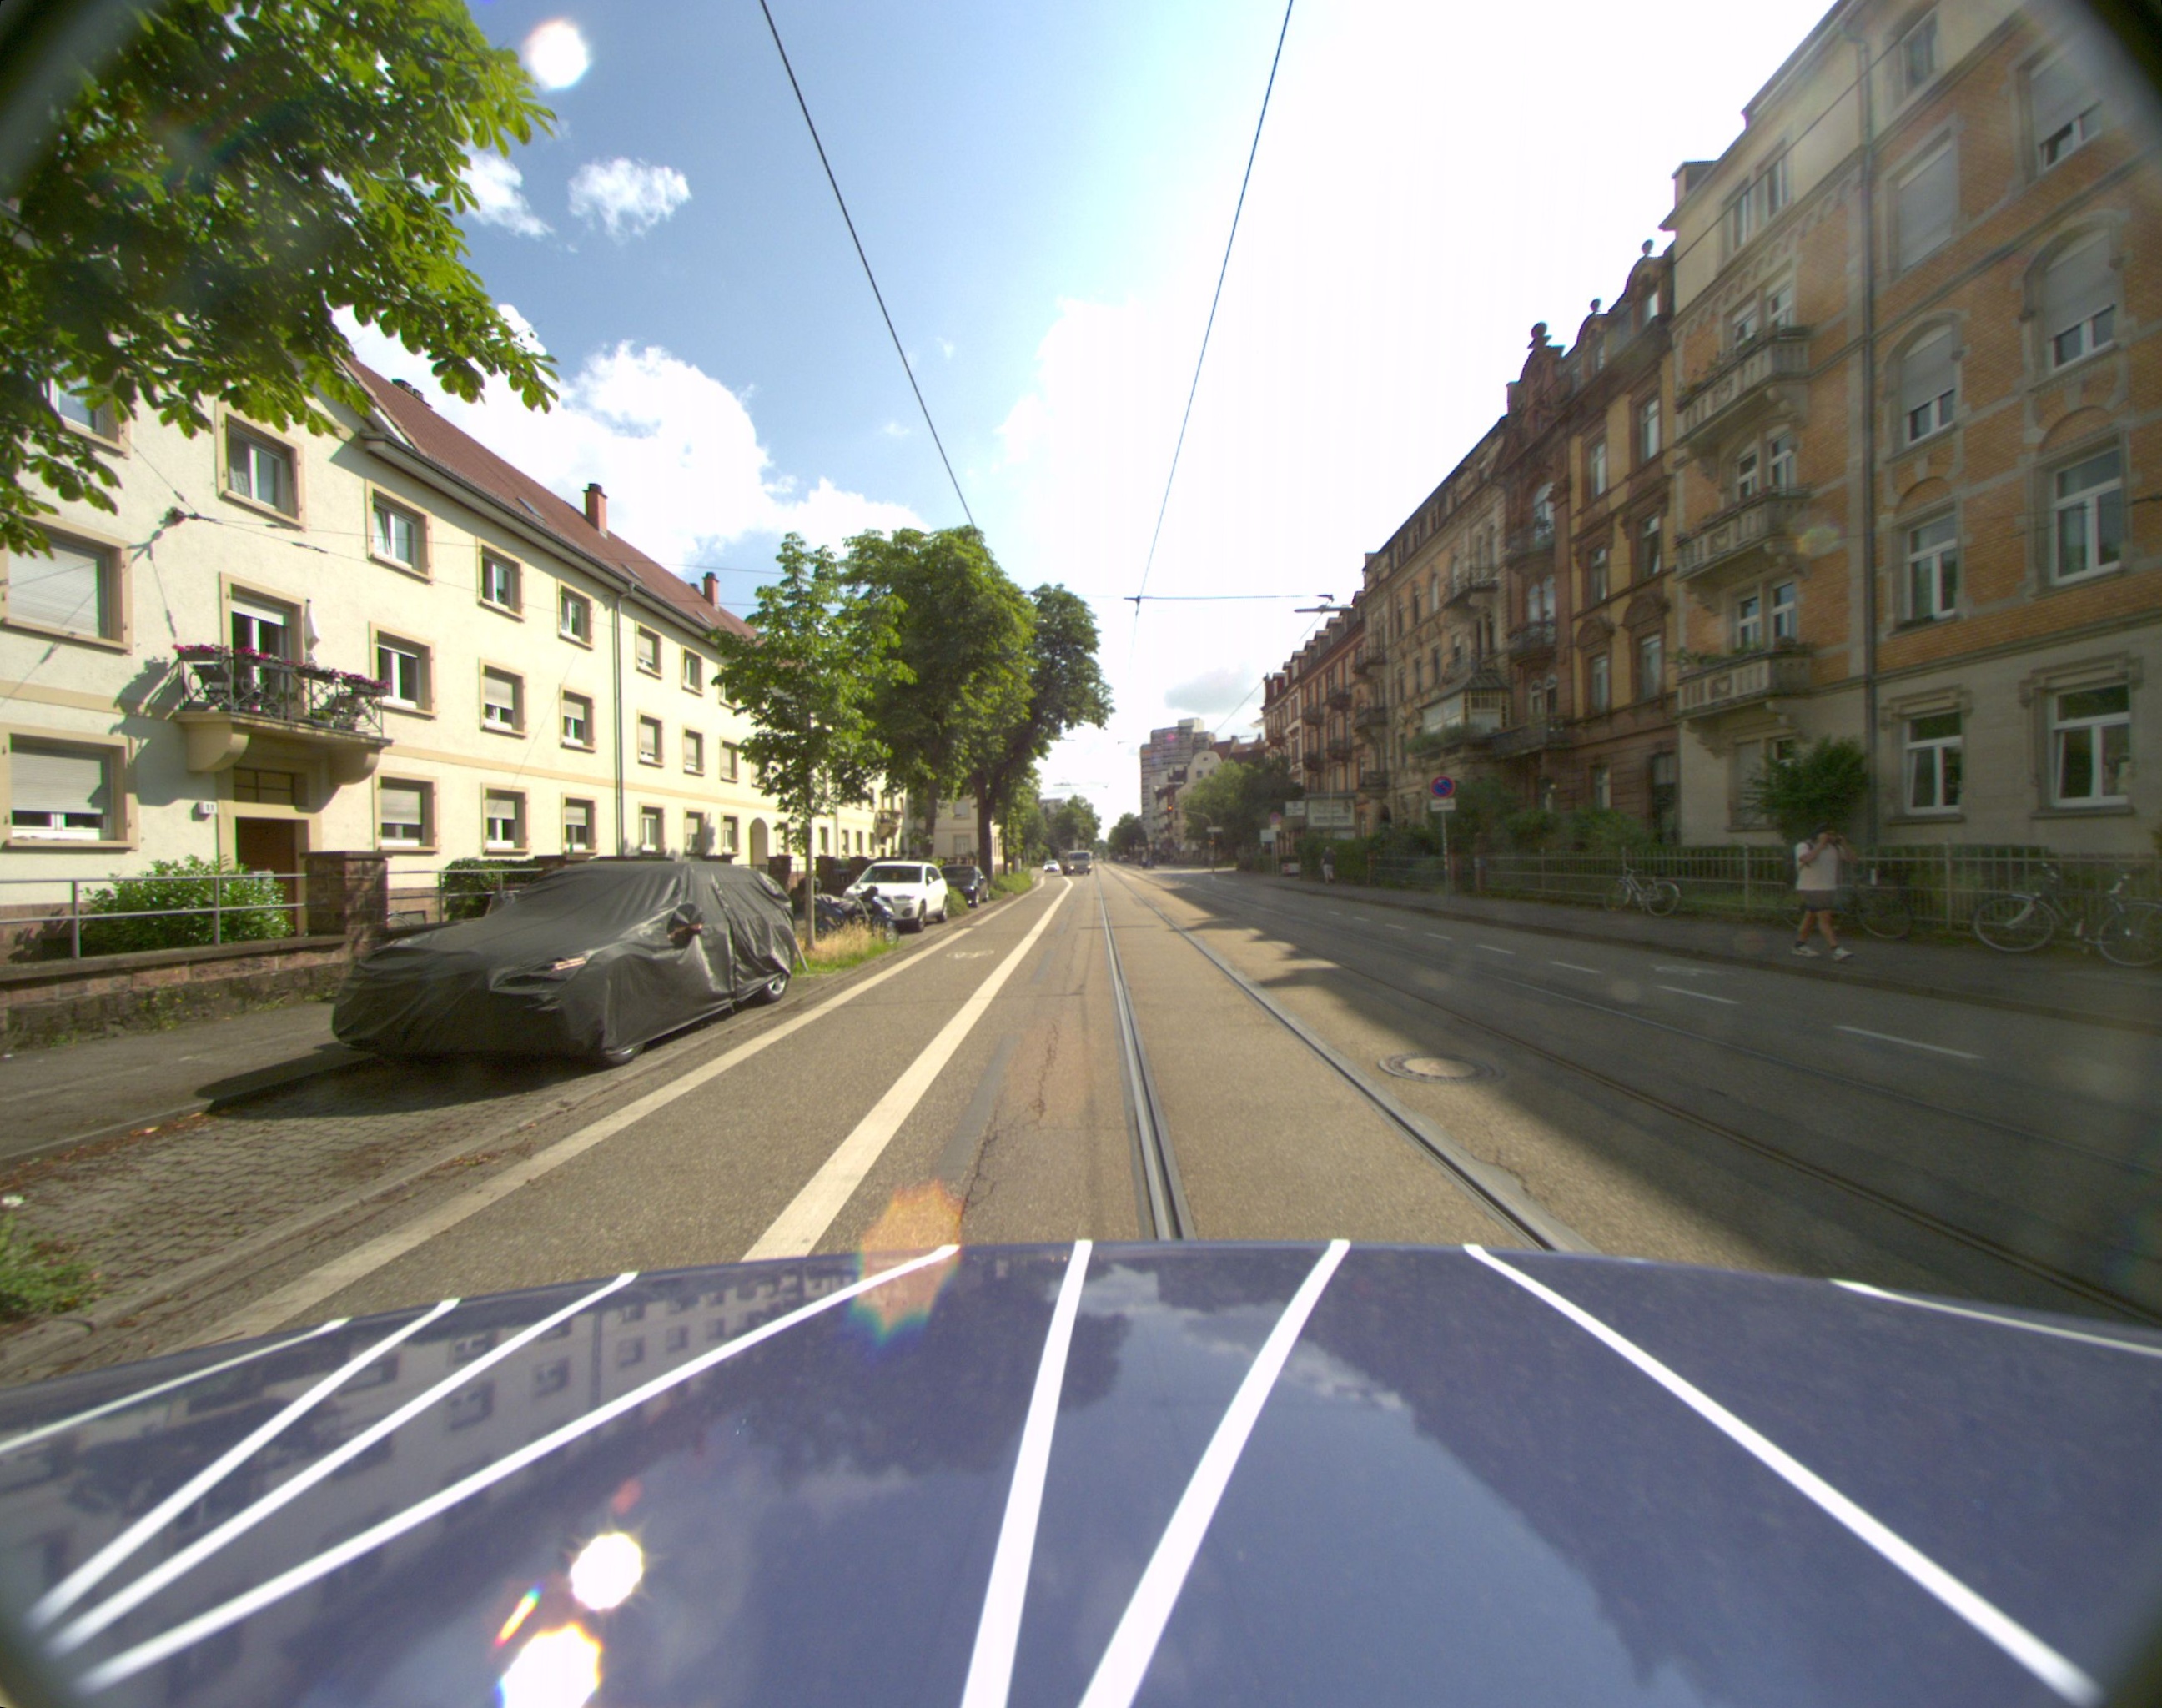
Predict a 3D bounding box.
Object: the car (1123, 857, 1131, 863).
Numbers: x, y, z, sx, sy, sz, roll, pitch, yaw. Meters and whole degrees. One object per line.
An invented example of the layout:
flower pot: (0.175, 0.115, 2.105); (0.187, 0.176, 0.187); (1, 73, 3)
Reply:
car: (12.423, 1.567, 206.095); (1.841, 1.482, 3.892); (-1, 0, 1)

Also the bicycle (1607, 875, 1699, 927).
bicycle: (11.609, 0.918, 15.495); (0.422, 0.927, 1.949); (-1, 0, 1)

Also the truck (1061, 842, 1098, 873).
truck: (-0.201, 0.373, 71.106); (2.533, 2.722, 6.510); (-1, 0, -8)

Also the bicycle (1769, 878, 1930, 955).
bicycle: (11.305, 0.885, 11.282); (0.422, 0.971, 1.949); (-1, 0, 1)

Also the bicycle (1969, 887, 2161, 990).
bicycle: (11.340, 0.906, 8.547); (0.422, 0.971, 1.949); (-1, 0, 1)

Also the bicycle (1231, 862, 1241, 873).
bicycle: (13.516, 1.135, 66.222); (0.560, 0.927, 1.826); (-1, 0, 4)

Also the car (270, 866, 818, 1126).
car: (-4.427, 1.000, 7.431); (1.867, 1.643, 4.638); (-1, 0, 3)

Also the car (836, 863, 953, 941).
car: (-4.382, 1.068, 18.533); (1.746, 1.571, 4.248); (-2, 0, 0)

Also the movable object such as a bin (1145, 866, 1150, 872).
movable object such as a bin: (7.763, 1.733, 88.817); (0.513, 0.713, 0.457); (-1, 0, -13)

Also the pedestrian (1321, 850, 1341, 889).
pedestrian: (11.105, 0.671, 33.778); (0.489, 1.693, 1.151); (-2, 0, -1)

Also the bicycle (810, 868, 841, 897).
bicycle: (-10.500, 1.144, 31.315); (0.626, 1.128, 1.801); (-1, 0, 1)

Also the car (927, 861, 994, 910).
car: (-4.219, 1.057, 27.240); (1.665, 1.512, 4.287); (-2, 0, 0)

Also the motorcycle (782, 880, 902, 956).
motorcycle: (-4.512, 1.194, 14.449); (2.012, 1.329, 0.747); (-1, 1, -3)

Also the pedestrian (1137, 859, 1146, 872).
pedestrian: (7.044, 1.325, 88.597); (0.783, 1.565, 0.692); (-1, 0, -13)

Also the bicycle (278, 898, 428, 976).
bicycle: (-10.692, 1.191, 11.248); (0.538, 0.958, 1.679); (-1, 0, 1)

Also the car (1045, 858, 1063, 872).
car: (-3.101, 1.297, 88.320); (1.751, 1.471, 3.654); (-3, 0, 2)

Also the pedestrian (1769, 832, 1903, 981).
pedestrian: (9.501, 0.629, 9.609); (0.534, 1.750, 1.106); (-3, 1, 1)
